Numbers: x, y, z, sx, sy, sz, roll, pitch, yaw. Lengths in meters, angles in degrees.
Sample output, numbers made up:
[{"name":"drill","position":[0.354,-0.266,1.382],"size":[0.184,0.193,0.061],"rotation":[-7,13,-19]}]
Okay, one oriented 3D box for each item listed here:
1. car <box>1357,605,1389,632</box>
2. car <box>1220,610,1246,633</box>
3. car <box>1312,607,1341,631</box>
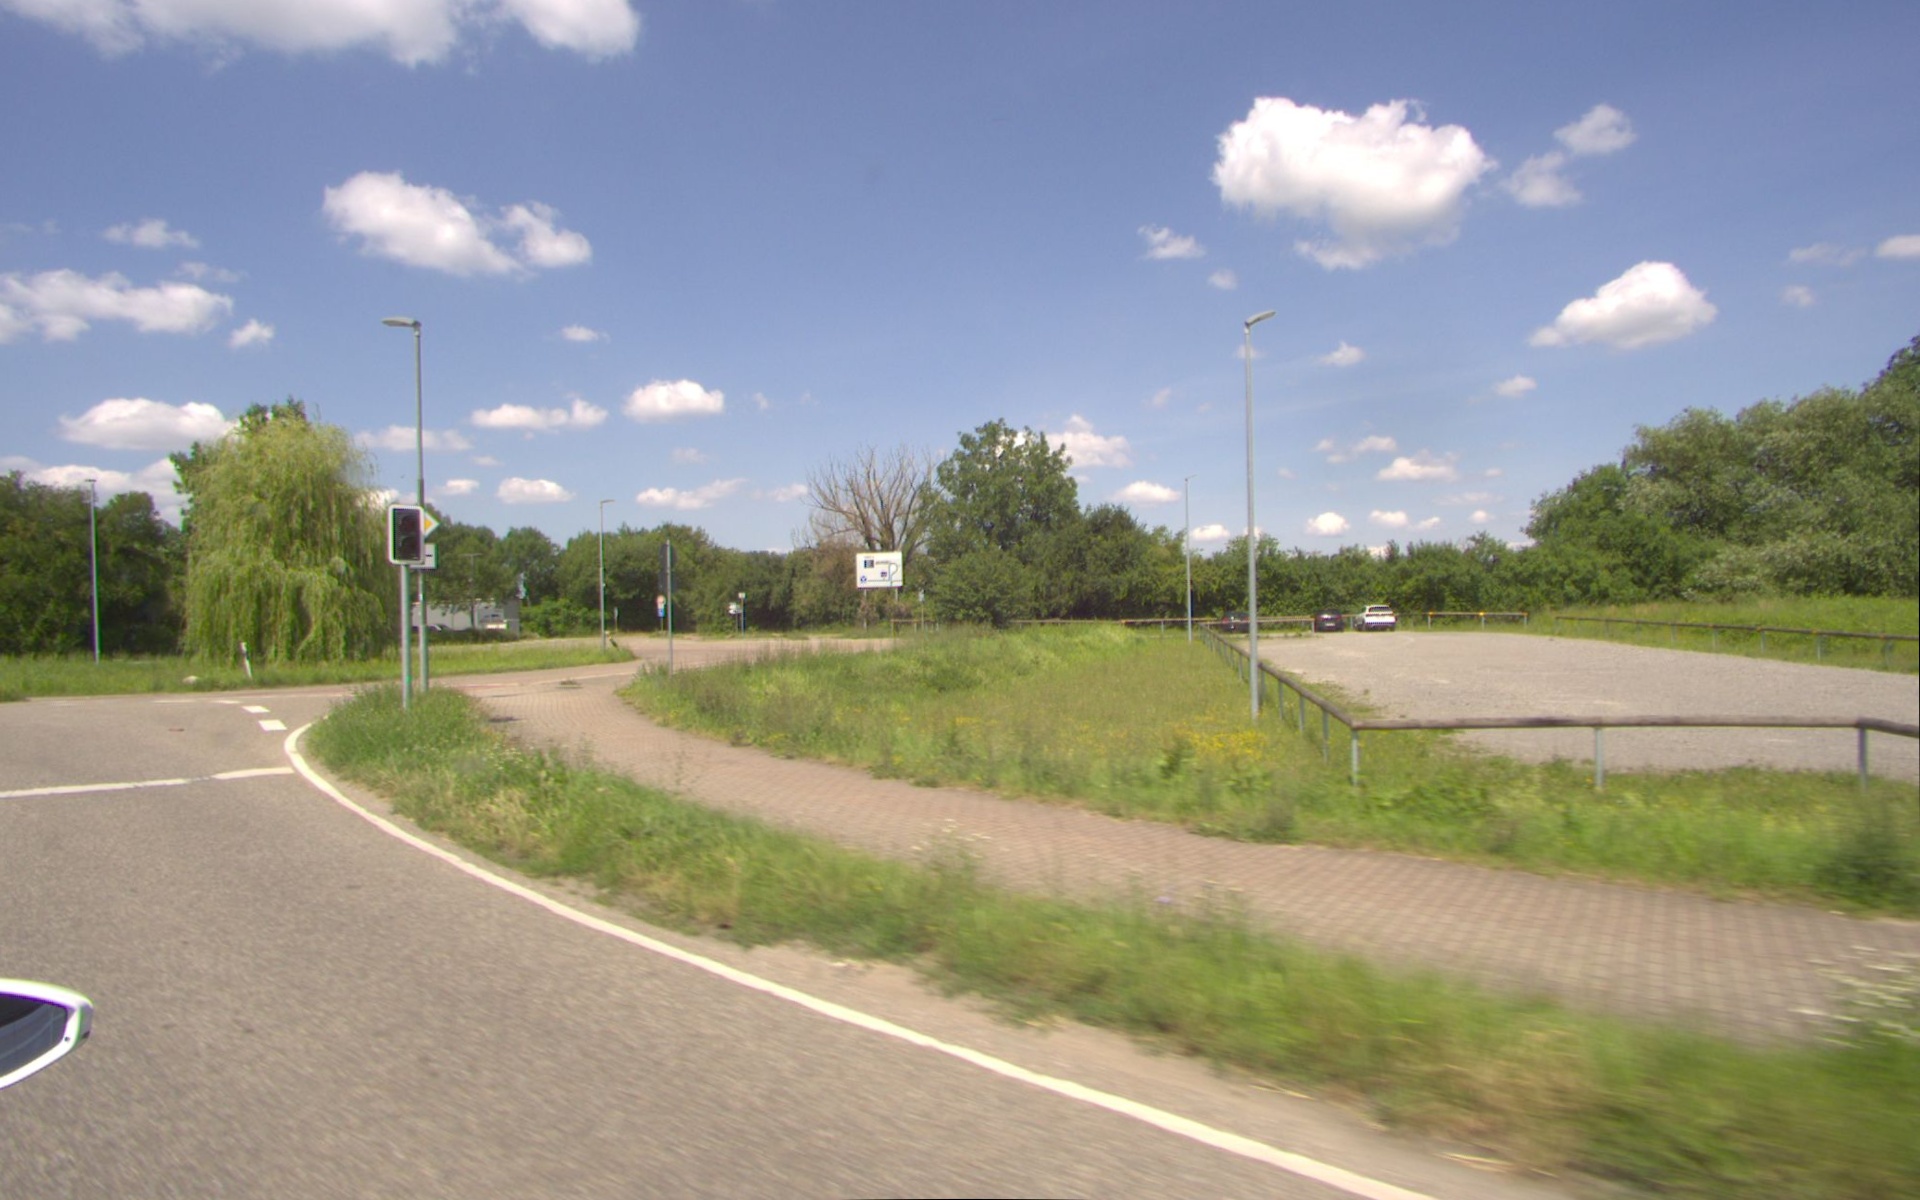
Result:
[{"name":"car","position":[24.578,1.121,59.648],"size":[1.393,1.523,3.115],"rotation":[-2,-2,16]},{"name":"car","position":[16.824,1.362,61.819],"size":[1.392,1.354,3.117],"rotation":[-2,-2,13]},{"name":"car","position":[21.971,1.167,60.053],"size":[1.393,1.354,3.115],"rotation":[-2,-2,16]}]
